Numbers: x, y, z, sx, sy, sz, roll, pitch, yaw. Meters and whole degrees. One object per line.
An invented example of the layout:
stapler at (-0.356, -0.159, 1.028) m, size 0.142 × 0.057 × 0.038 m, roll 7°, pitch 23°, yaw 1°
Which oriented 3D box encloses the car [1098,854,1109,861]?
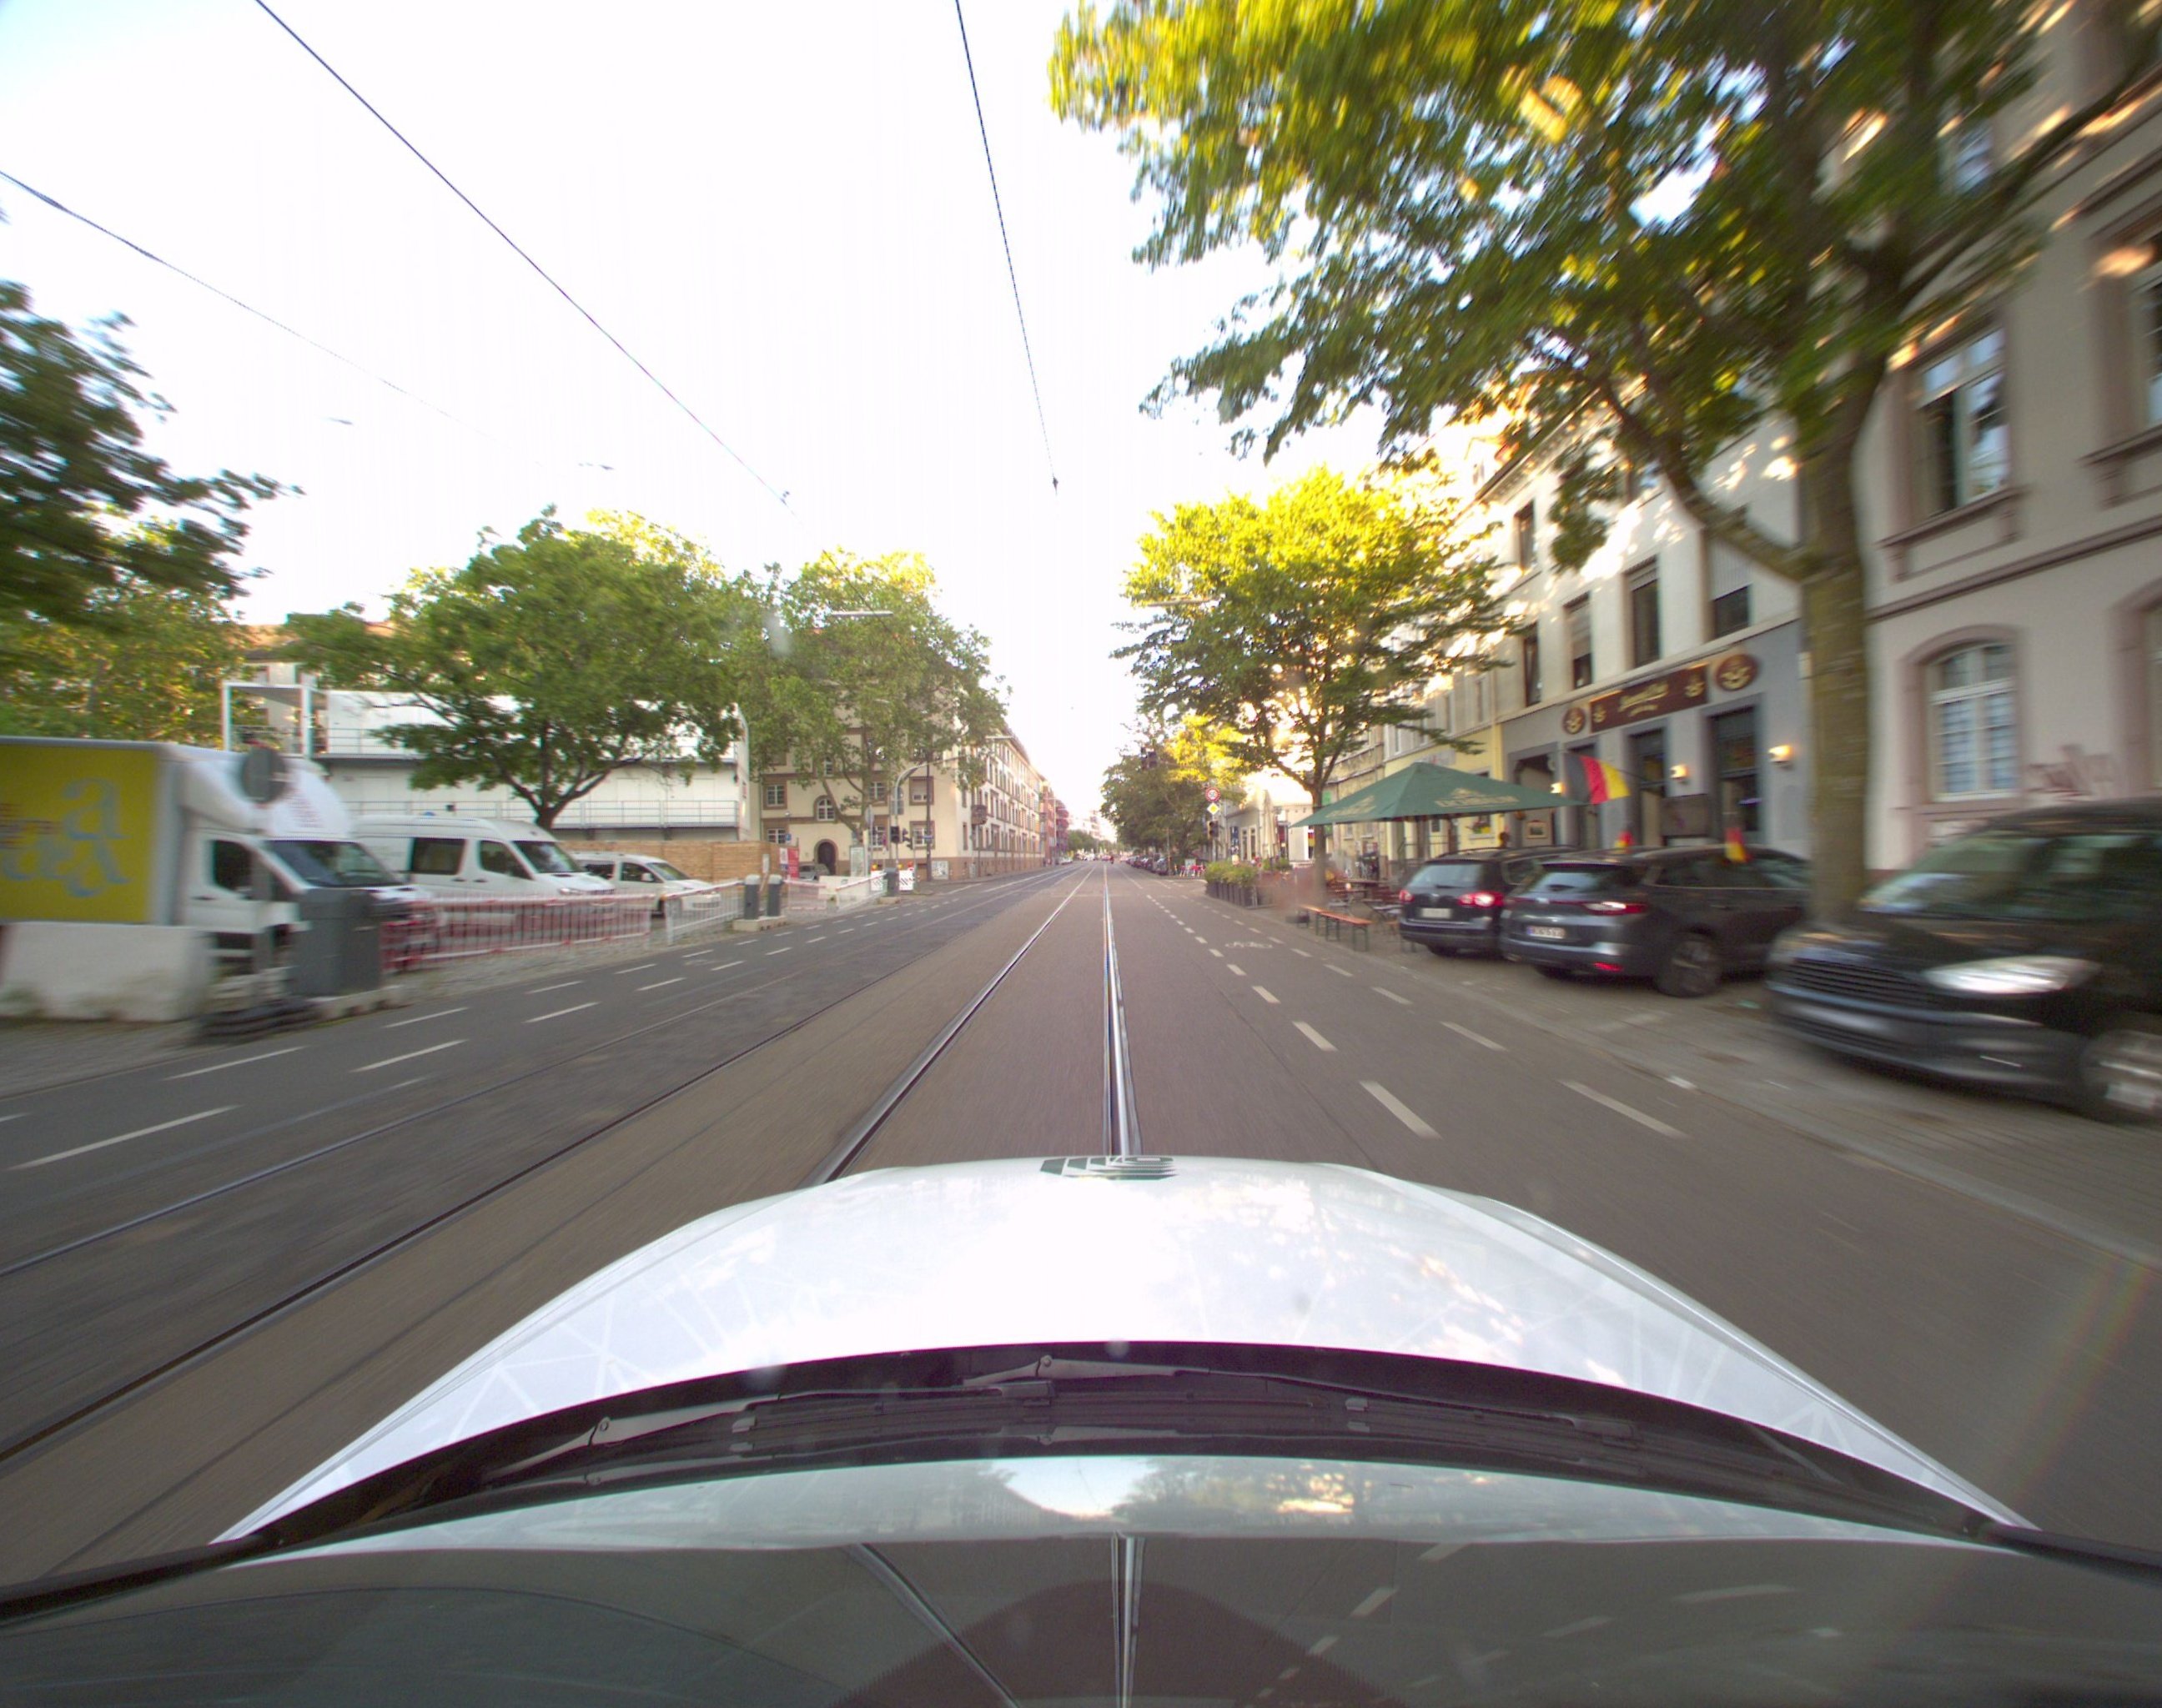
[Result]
car at (6.362, 0.946, 226.787) m, size 1.978 × 2.013 × 4.017 m, roll -1°, pitch 0°, yaw 16°

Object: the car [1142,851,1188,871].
car at (7.268, 0.621, 71.019) m, size 3.872 × 1.661 × 1.862 m, roll -1°, pitch -1°, yaw 2°

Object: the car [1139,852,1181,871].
car at (7.545, 0.714, 77.672) m, size 3.872 × 1.661 × 1.862 m, roll -1°, pitch 0°, yaw 2°

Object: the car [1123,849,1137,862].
car at (7.341, 0.220, 122.539) m, size 1.891 × 2.013 × 4.001 m, roll -1°, pitch 0°, yaw 2°

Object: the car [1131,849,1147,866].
car at (7.099, 0.449, 99.819) m, size 1.715 × 2.013 × 4.002 m, roll -1°, pitch 0°, yaw 2°

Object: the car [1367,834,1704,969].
car at (6.417, 0.581, 11.543) m, size 4.193 × 1.498 × 1.993 m, roll -2°, pitch -1°, yaw -23°

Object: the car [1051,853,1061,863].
car at (-5.076, 0.863, 166.780) m, size 1.891 × 2.013 × 4.001 m, roll -1°, pitch 0°, yaw 2°

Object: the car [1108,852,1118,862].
car at (6.621, 0.704, 169.407) m, size 1.891 × 2.013 × 4.001 m, roll -1°, pitch 0°, yaw 2°

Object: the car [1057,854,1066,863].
car at (-4.242, 0.993, 176.969) m, size 1.891 × 2.013 × 4.001 m, roll -1°, pitch 0°, yaw 2°

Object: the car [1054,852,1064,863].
car at (-4.676, 0.747, 171.420) m, size 1.891 × 2.178 × 4.001 m, roll -1°, pitch 0°, yaw 2°

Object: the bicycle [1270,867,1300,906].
bicycle at (5.656, 0.890, 22.668) m, size 0.417 × 1.015 × 1.831 m, roll -1°, pitch 0°, yaw 2°

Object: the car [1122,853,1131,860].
car at (11.045, 0.684, 196.996) m, size 1.956 × 1.718 × 4.001 m, roll -1°, pitch 0°, yaw 2°

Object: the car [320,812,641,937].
car at (-13.116, 0.420, 18.098) m, size 5.384 × 2.558 × 2.226 m, roll 1°, pitch 0°, yaw -2°

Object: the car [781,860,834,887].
car at (-17.808, 1.246, 53.180) m, size 1.905 × 1.640 × 4.120 m, roll -1°, pitch -1°, yaw 2°

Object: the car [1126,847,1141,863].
car at (7.067, 0.117, 109.405) m, size 1.798 × 2.013 × 4.001 m, roll -1°, pitch 0°, yaw 2°

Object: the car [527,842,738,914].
car at (-13.067, 0.660, 23.944) m, size 5.001 × 1.945 × 2.230 m, roll 1°, pitch 0°, yaw 6°

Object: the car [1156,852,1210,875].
car at (7.577, 0.679, 60.808) m, size 3.872 × 1.592 × 1.862 m, roll -1°, pitch 0°, yaw 2°

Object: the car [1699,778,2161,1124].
car at (6.584, 0.435, 5.188) m, size 4.006 × 1.708 × 1.814 m, roll -2°, pitch -1°, yaw -5°

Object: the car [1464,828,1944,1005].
car at (6.698, 0.569, 8.922) m, size 4.182 × 1.462 × 1.998 m, roll -3°, pitch -1°, yaw -15°

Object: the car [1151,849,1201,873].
car at (7.687, 0.570, 66.292) m, size 3.872 × 1.848 × 1.862 m, roll -1°, pitch -1°, yaw 2°

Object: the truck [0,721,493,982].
truck at (-13.370, -0.039, 12.250) m, size 7.039 × 3.480 × 2.539 m, roll 1°, pitch 0°, yaw -2°
